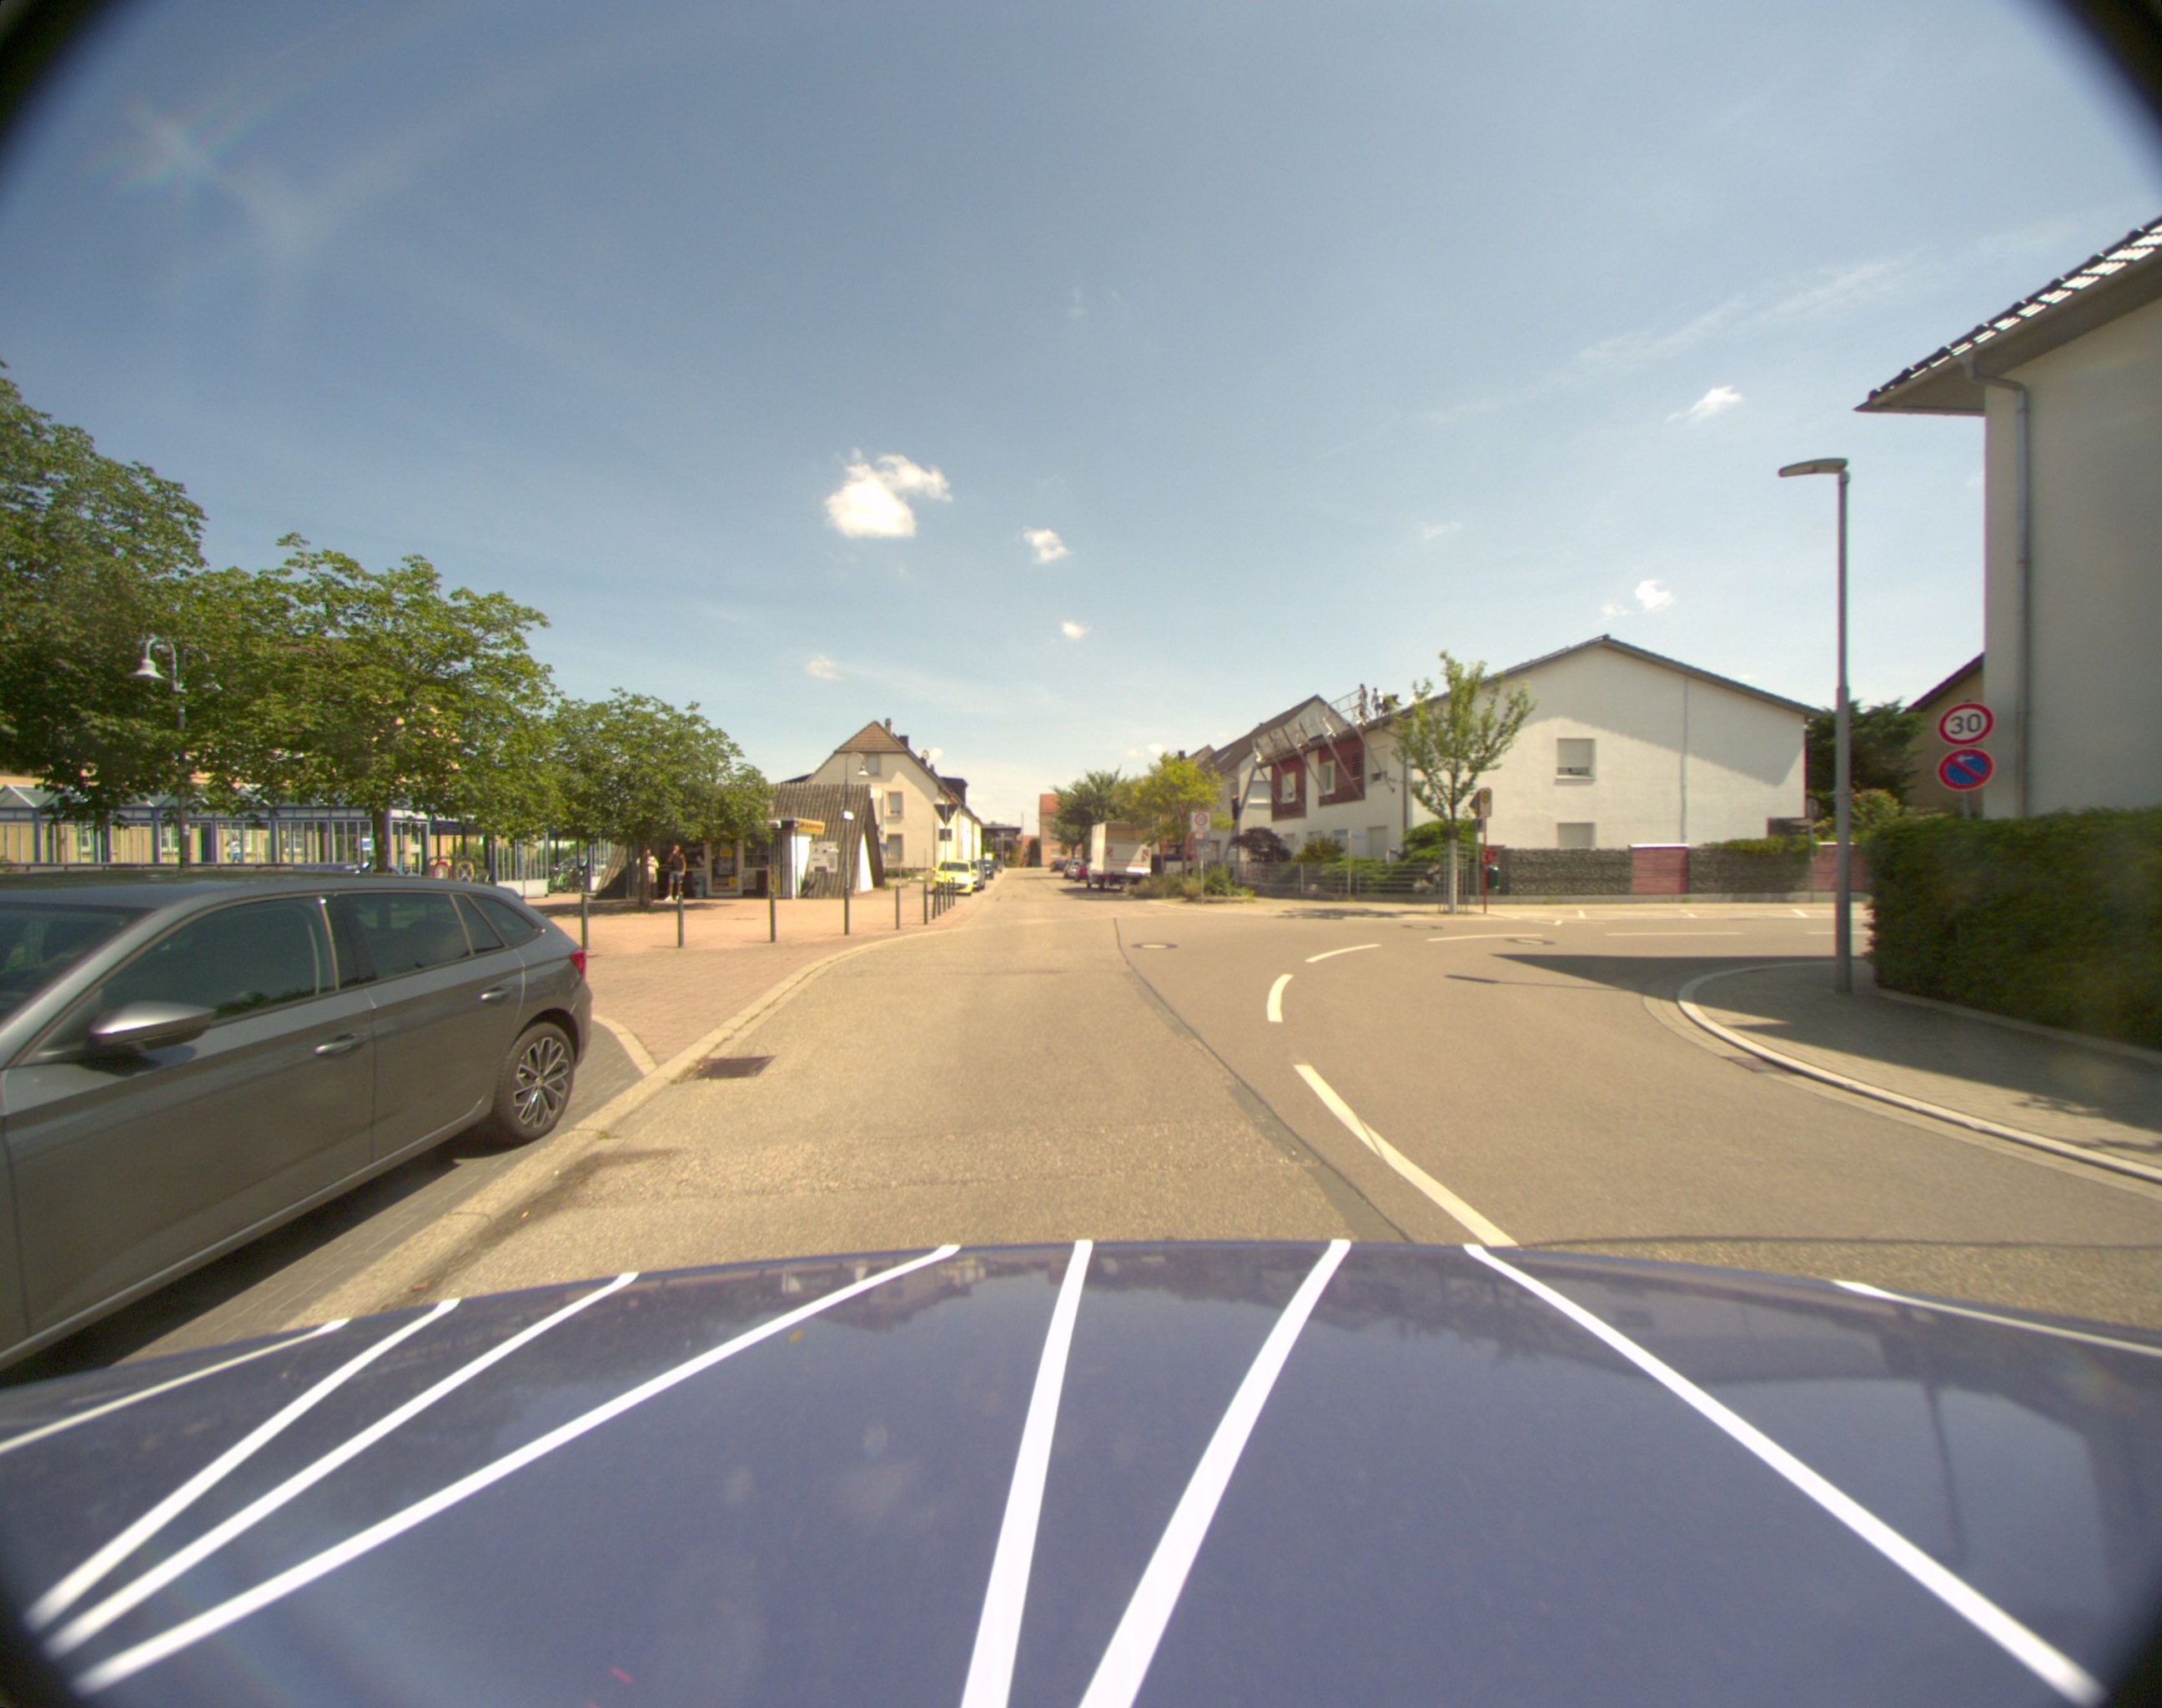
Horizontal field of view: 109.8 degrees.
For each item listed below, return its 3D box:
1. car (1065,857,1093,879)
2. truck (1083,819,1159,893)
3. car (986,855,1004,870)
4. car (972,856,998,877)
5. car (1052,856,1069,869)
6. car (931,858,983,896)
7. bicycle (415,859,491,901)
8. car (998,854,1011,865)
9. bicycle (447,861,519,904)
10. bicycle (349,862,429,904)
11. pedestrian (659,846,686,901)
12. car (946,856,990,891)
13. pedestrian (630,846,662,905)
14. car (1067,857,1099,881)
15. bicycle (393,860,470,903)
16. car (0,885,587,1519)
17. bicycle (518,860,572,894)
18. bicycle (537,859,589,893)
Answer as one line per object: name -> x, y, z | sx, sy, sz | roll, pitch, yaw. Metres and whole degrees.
car -> -0.205, 1.029, 57.429 | 1.721, 1.491, 4.213 | 2, 0, -5
truck -> 1.819, 0.078, 37.704 | 2.445, 3.227, 7.032 | 3, 0, -7
car -> -9.203, 0.920, 81.687 | 1.721, 1.491, 4.213 | 3, 0, -4
car -> -7.450, 0.980, 59.368 | 1.721, 1.491, 4.213 | 3, 0, -4
car -> -2.398, 0.950, 88.146 | 1.721, 1.491, 4.213 | 2, 0, -5
car -> -5.187, 0.941, 32.229 | 1.721, 1.390, 4.213 | 3, 0, -4
bicycle -> -20.820, 0.834, 25.258 | 0.605, 1.343, 2.352 | 0, 0, -2
car -> -11.227, 0.828, 111.900 | 1.721, 1.491, 4.213 | 3, 0, -4
bicycle -> -20.045, 0.933, 25.540 | 0.605, 1.343, 2.352 | 0, 0, -2
bicycle -> -23.181, 0.936, 25.516 | 0.605, 1.343, 2.352 | 0, 0, -2
pedestrian -> -12.875, 0.617, 23.955 | 0.463, 1.710, 0.599 | 0, 1, 37
car -> -5.403, 0.916, 36.856 | 1.721, 1.491, 4.213 | 3, 0, -4
pedestrian -> -13.357, 0.637, 23.342 | 0.548, 1.778, 0.682 | 0, 1, 37
car -> 0.073, 0.976, 50.768 | 1.721, 1.491, 4.213 | 2, 0, -5
bicycle -> -21.594, 0.895, 25.318 | 0.605, 1.343, 2.352 | 0, 0, -2
car -> -3.587, 0.929, 2.438 | 1.632, 1.480, 4.137 | 0, 0, -6
bicycle -> -22.036, 0.921, 31.291 | 0.605, 1.343, 2.352 | 0, 0, -2
bicycle -> -21.285, 0.882, 31.279 | 0.605, 1.343, 2.352 | 0, 0, -2
